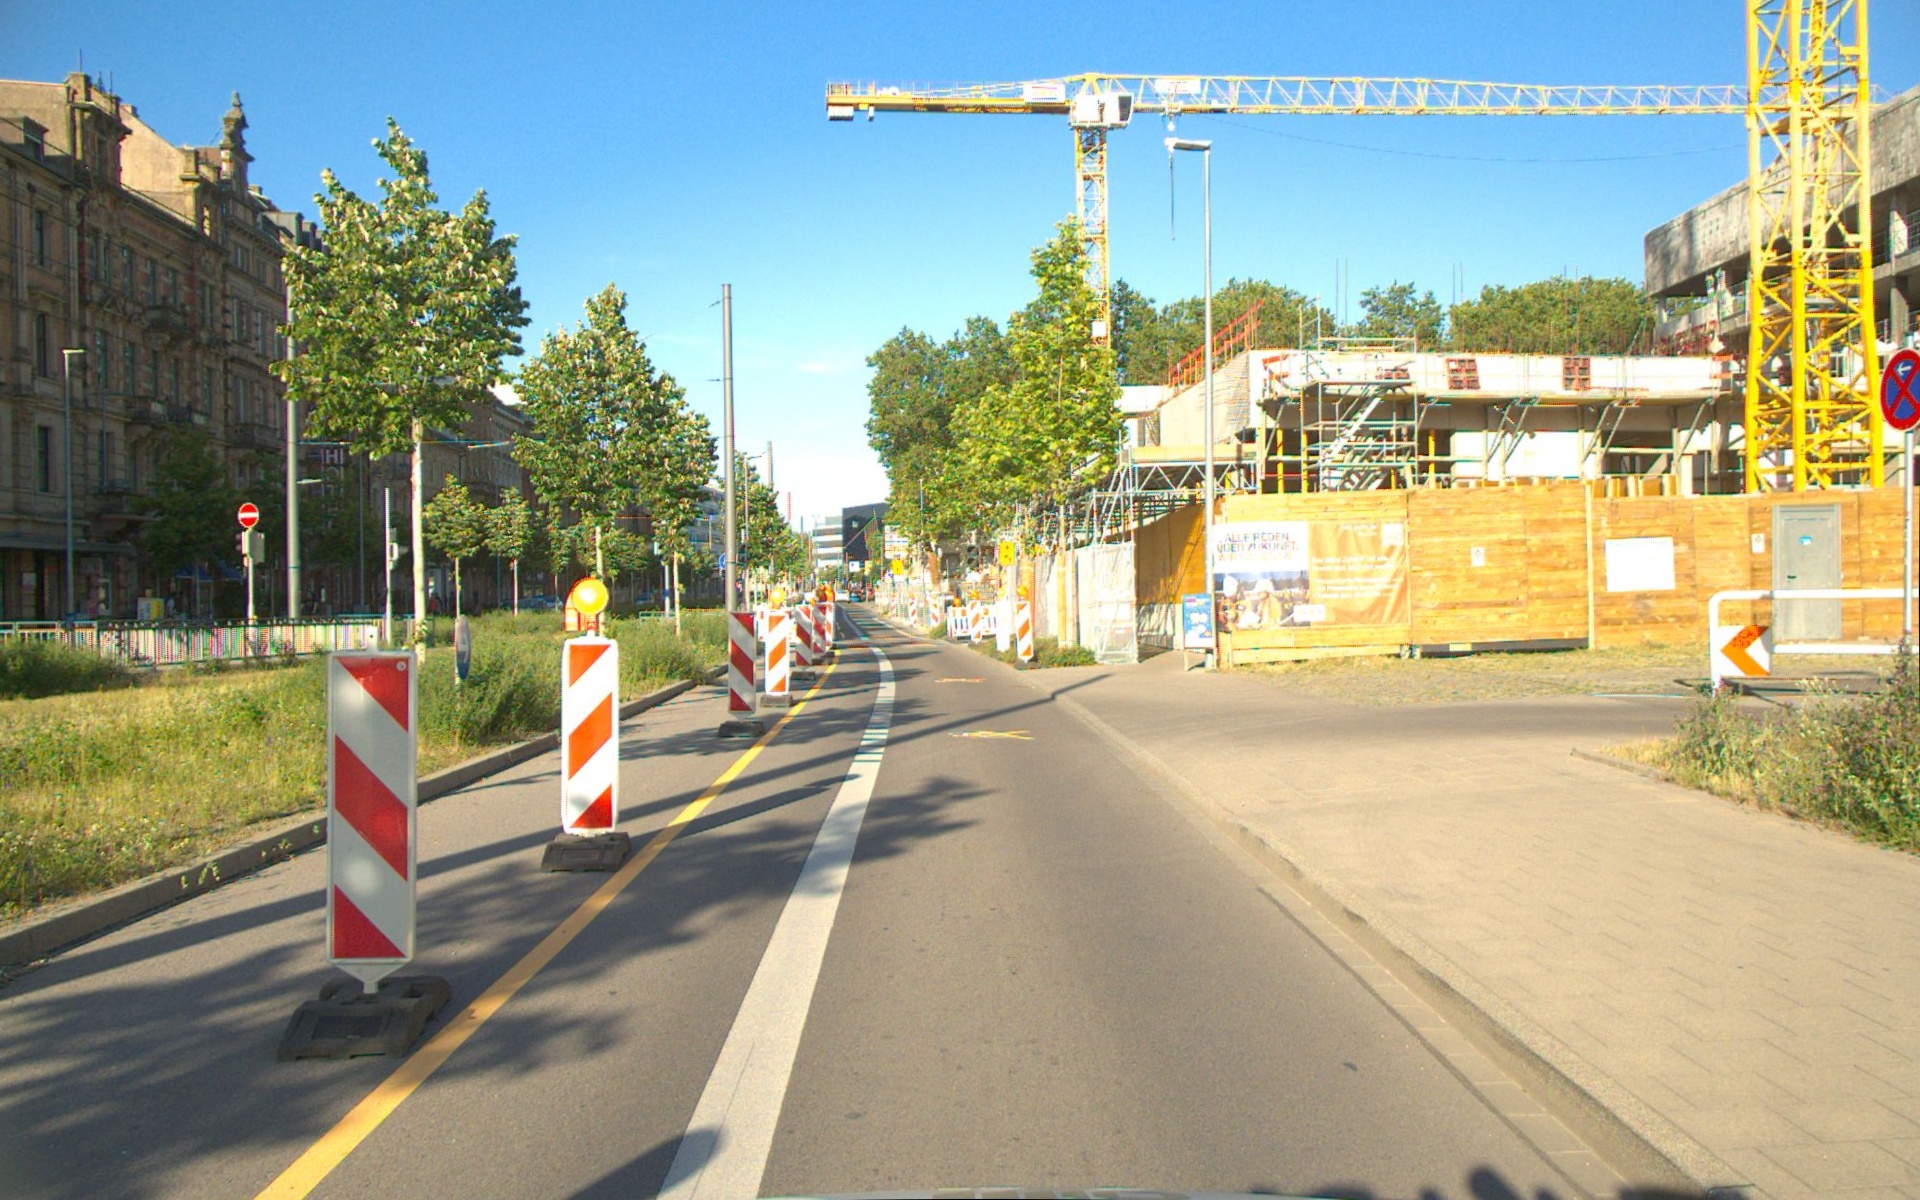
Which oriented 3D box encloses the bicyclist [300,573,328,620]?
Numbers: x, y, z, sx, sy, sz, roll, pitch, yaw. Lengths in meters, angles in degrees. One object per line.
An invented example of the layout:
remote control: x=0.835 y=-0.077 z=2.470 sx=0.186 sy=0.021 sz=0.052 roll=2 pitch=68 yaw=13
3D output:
bicyclist: x=-23.554 y=-0.125 z=60.277 sx=0.681 sy=1.686 sz=0.881 roll=-1 pitch=0 yaw=-4

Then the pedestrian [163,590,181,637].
pedestrian: x=-30.200 y=0.504 z=63.407 sx=0.498 sy=1.795 sz=0.406 roll=1 pitch=0 yaw=-5

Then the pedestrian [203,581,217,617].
pedestrian: x=-33.567 y=-0.032 z=74.045 sx=0.377 sy=1.612 sz=0.390 roll=1 pitch=0 yaw=26

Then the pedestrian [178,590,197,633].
pedestrian: x=-28.942 y=0.422 z=61.979 sx=0.477 sy=1.612 sz=0.533 roll=1 pitch=0 yaw=-5

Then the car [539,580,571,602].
car: x=-29.654 y=-0.670 z=121.264 sx=1.536 sy=1.590 sz=4.710 roll=-1 pitch=1 yaw=-5

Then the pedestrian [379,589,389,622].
pedestrian: x=-31.892 y=0.318 z=91.581 sx=0.359 sy=1.795 sz=0.406 roll=1 pitch=0 yaw=-5

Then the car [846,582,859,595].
car: x=-15.418 y=-1.640 z=236.782 sx=1.846 sy=1.875 sz=3.664 roll=-1 pitch=1 yaw=-5

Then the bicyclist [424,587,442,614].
bicyclist: x=-25.129 y=0.022 z=78.841 sx=0.624 sy=1.261 sz=0.738 roll=-1 pitch=0 yaw=-4

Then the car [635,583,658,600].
car: x=-28.244 y=-0.807 z=149.234 sx=1.563 sy=1.509 sz=3.621 roll=-1 pitch=1 yaw=-3

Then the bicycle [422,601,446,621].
bicycle: x=-25.127 y=0.523 z=79.014 sx=0.624 sy=0.872 sz=2.030 roll=-1 pitch=1 yaw=-3

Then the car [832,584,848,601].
car: x=-14.127 y=-0.865 z=194.469 sx=1.846 sy=1.875 sz=3.664 roll=-1 pitch=1 yaw=-5

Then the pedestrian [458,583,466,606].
pedestrian: x=-33.217 y=-0.378 z=110.226 sx=0.397 sy=1.559 sz=0.434 roll=1 pitch=0 yaw=-5

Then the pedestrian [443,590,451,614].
pedestrian: x=-34.172 y=0.116 z=110.150 sx=0.425 sy=1.612 sz=0.385 roll=1 pitch=0 yaw=-7

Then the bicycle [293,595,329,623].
bicycle: x=-23.518 y=0.323 z=59.941 sx=0.681 sy=0.995 sz=1.826 roll=-1 pitch=0 yaw=-4

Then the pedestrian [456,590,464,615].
pedestrian: x=-33.318 y=0.161 z=110.148 sx=0.420 sy=1.612 sz=0.338 roll=1 pitch=0 yaw=-3
